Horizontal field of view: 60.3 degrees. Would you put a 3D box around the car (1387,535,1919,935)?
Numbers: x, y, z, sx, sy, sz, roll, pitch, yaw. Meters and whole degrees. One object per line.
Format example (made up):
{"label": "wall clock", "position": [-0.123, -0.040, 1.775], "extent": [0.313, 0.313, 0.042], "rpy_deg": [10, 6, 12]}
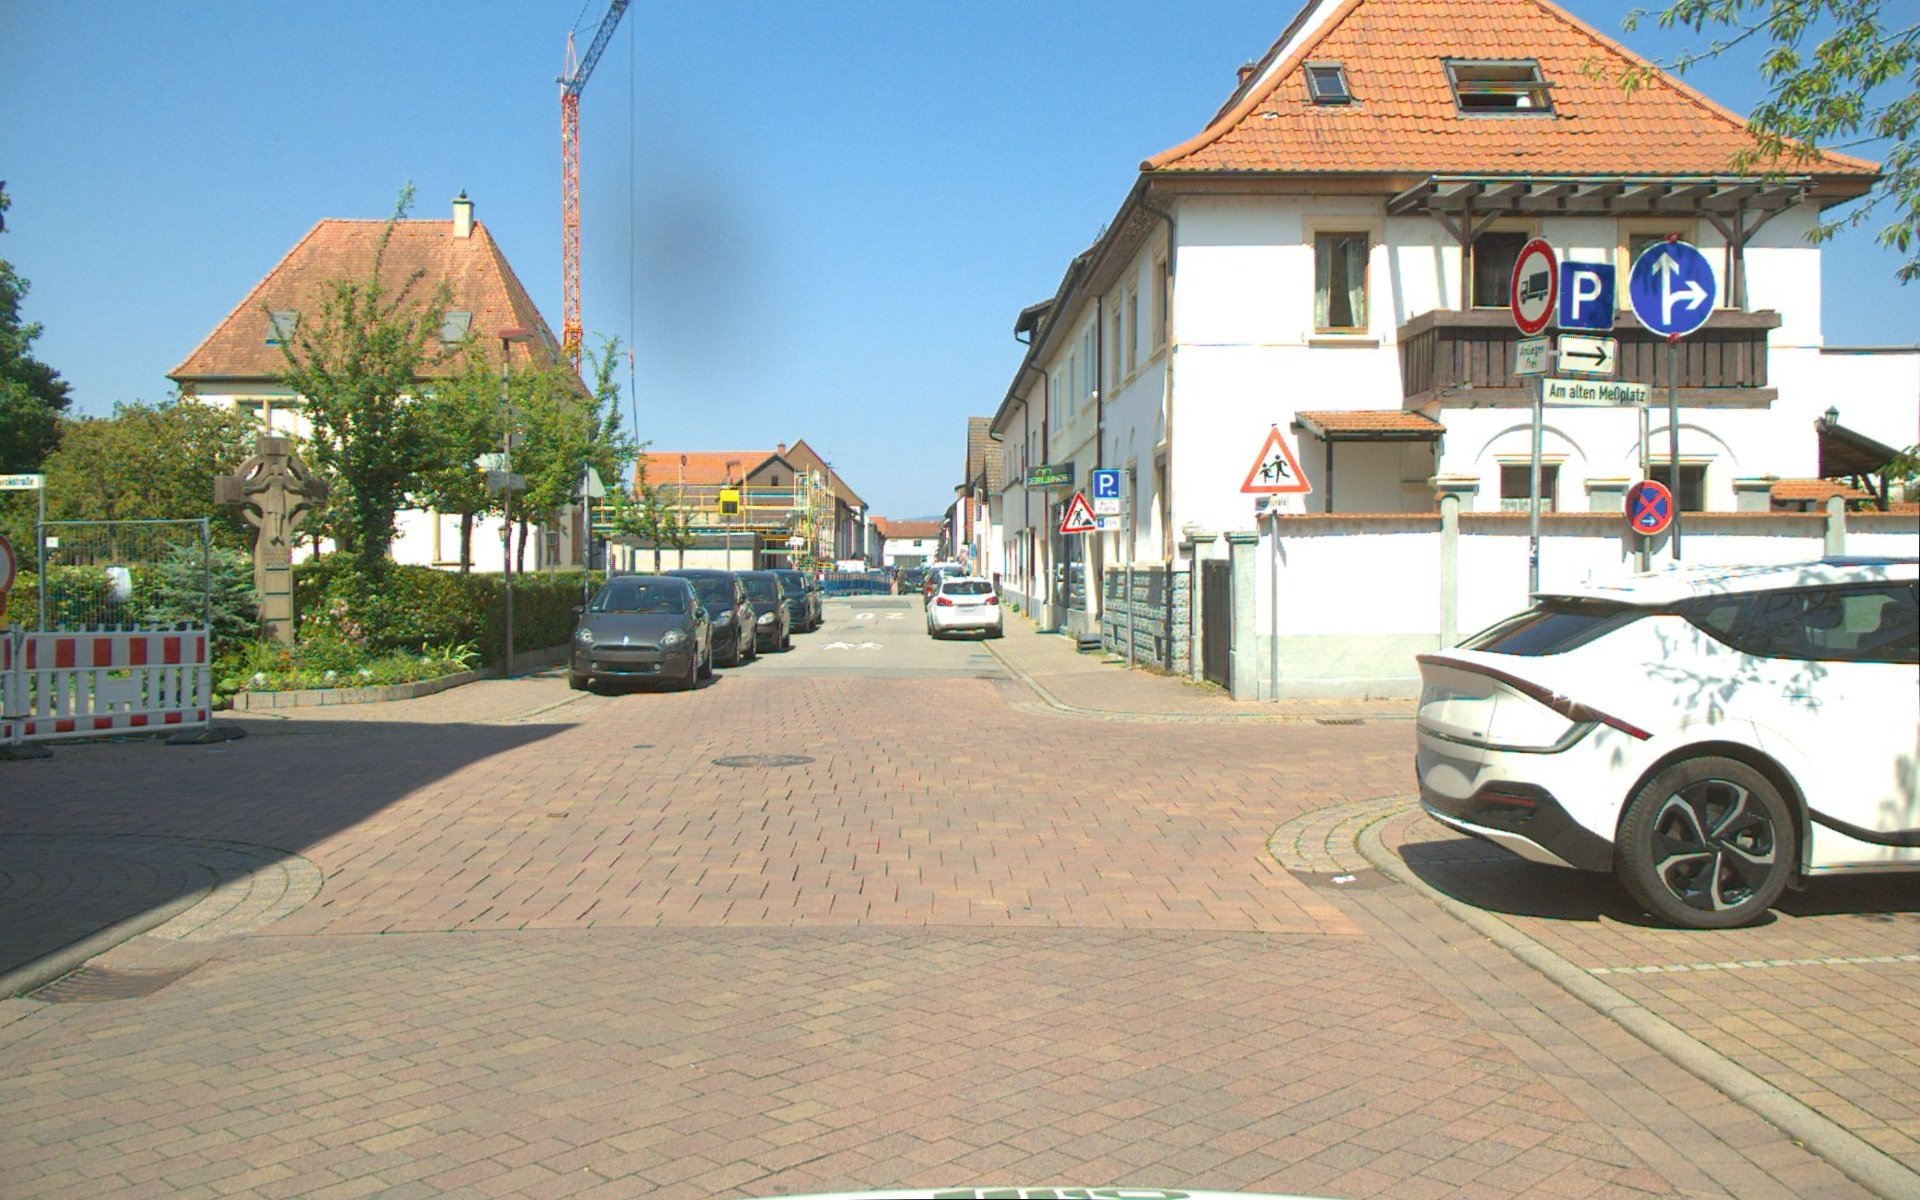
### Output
{"label": "car", "position": [4.460, 0.502, 7.874], "extent": [4.350, 1.603, 1.789], "rpy_deg": [-2, 1, -1]}

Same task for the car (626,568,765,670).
{"label": "car", "position": [-4.551, 0.271, 28.984], "extent": [1.778, 1.633, 4.024], "rpy_deg": [0, 1, 0]}

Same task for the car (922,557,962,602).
{"label": "car", "position": [-0.764, -0.851, 66.897], "extent": [1.532, 1.641, 3.542], "rpy_deg": [0, 3, -2]}

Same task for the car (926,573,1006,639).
{"label": "car", "position": [0.211, 0.105, 41.892], "extent": [1.847, 1.568, 4.244], "rpy_deg": [0, 1, 2]}

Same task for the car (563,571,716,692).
{"label": "car", "position": [-4.384, 0.363, 23.096], "extent": [1.669, 1.523, 3.854], "rpy_deg": [0, 1, -5]}

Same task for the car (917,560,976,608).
{"label": "car", "position": [-0.524, -0.630, 61.535], "extent": [1.848, 1.582, 3.891], "rpy_deg": [-4, 2, -4]}

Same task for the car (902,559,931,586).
{"label": "car", "position": [-2.787, -1.757, 105.212], "extent": [1.844, 1.697, 4.152], "rpy_deg": [0, 1, -2]}

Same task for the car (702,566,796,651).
{"label": "car", "position": [-4.361, 0.126, 34.663], "extent": [1.605, 1.657, 3.767], "rpy_deg": [0, 1, -2]}

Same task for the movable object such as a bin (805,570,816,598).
{"label": "movable object such as a bin", "position": [-6.375, -0.697, 70.544], "extent": [0.423, 1.175, 0.363], "rpy_deg": [-1, 1, -11]}

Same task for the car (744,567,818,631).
{"label": "car", "position": [-4.874, -0.072, 45.431], "extent": [1.790, 1.659, 4.215], "rpy_deg": [0, 1, -3]}
